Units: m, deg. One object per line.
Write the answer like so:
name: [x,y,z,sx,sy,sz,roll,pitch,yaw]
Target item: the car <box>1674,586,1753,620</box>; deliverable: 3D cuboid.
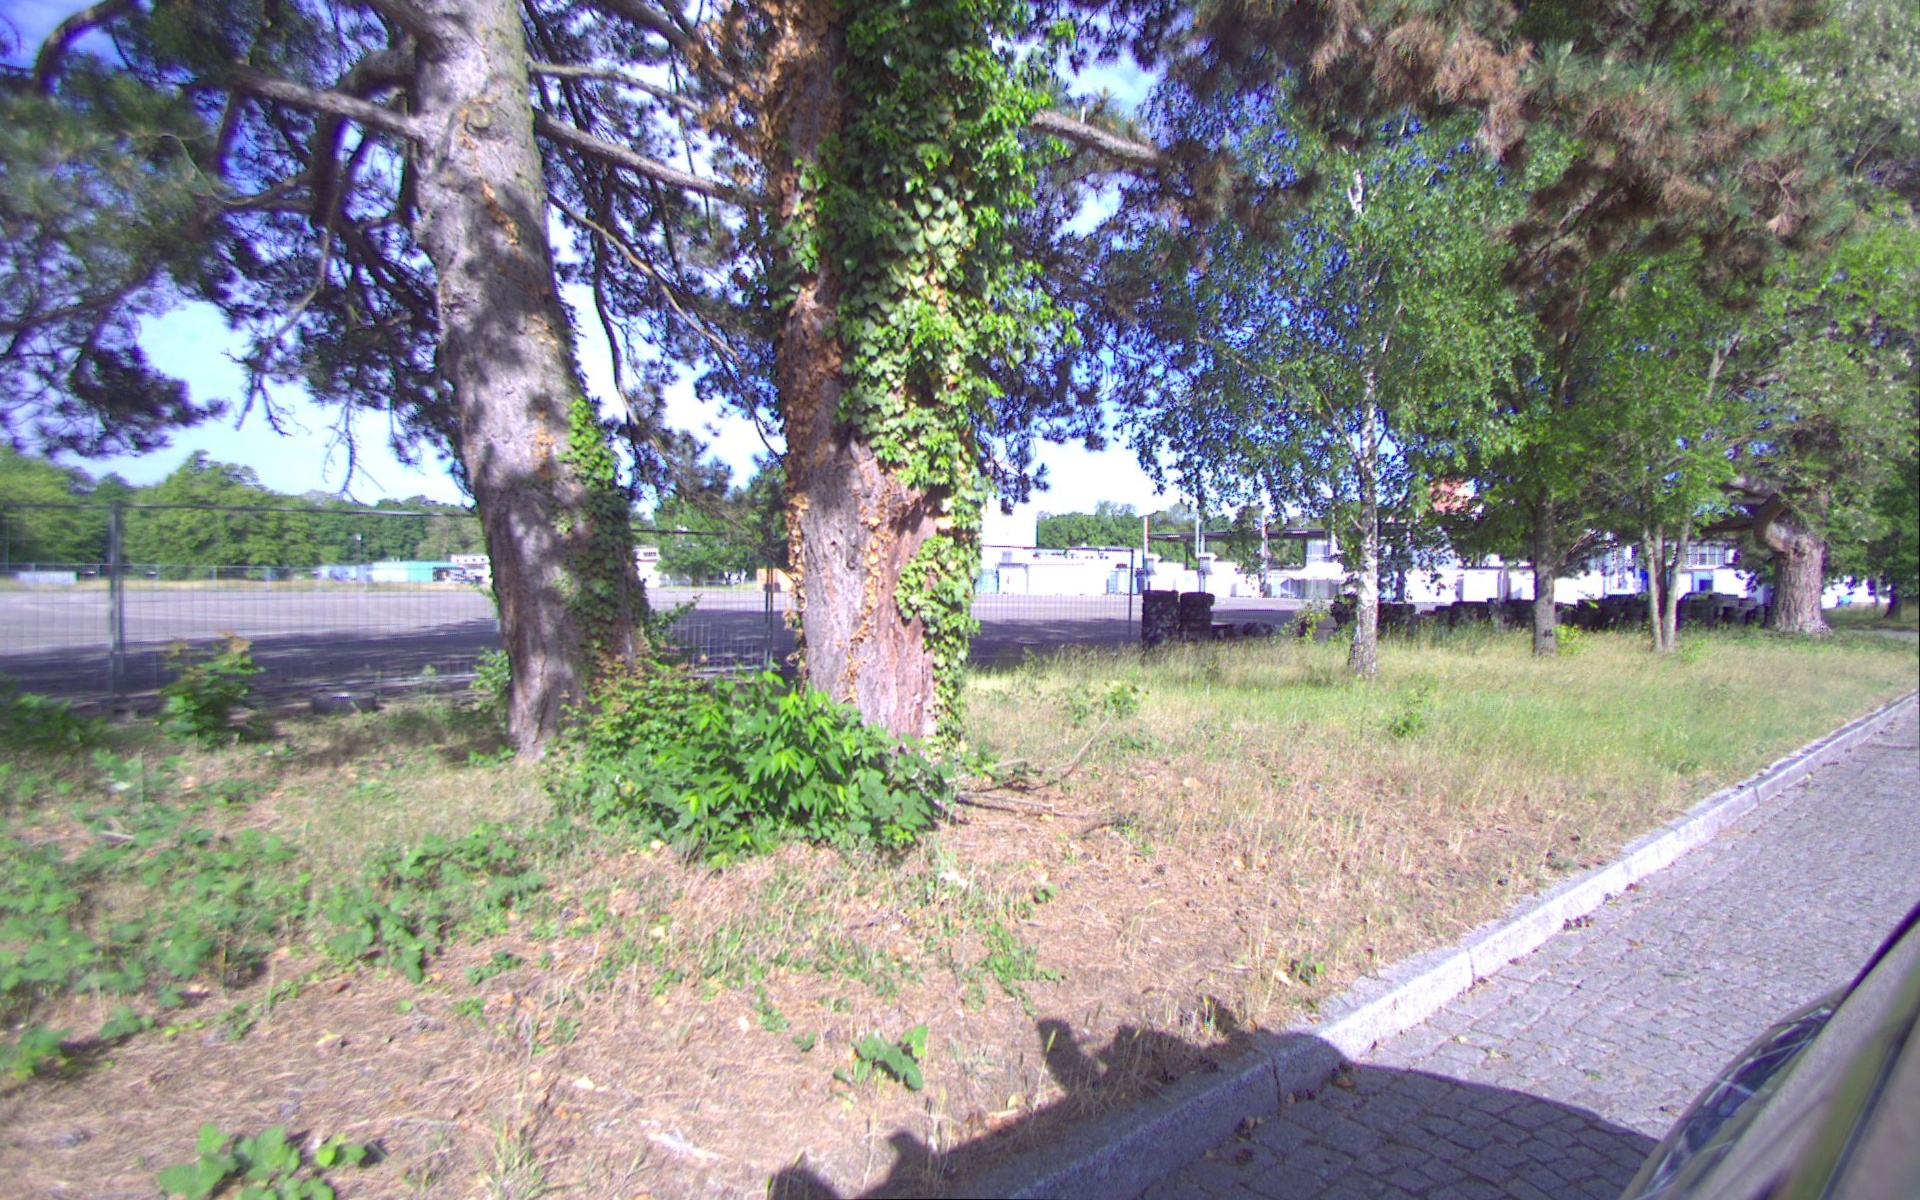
car: [35.021,0.116,47.024,3.924,1.467,1.848,0,1,-36]
